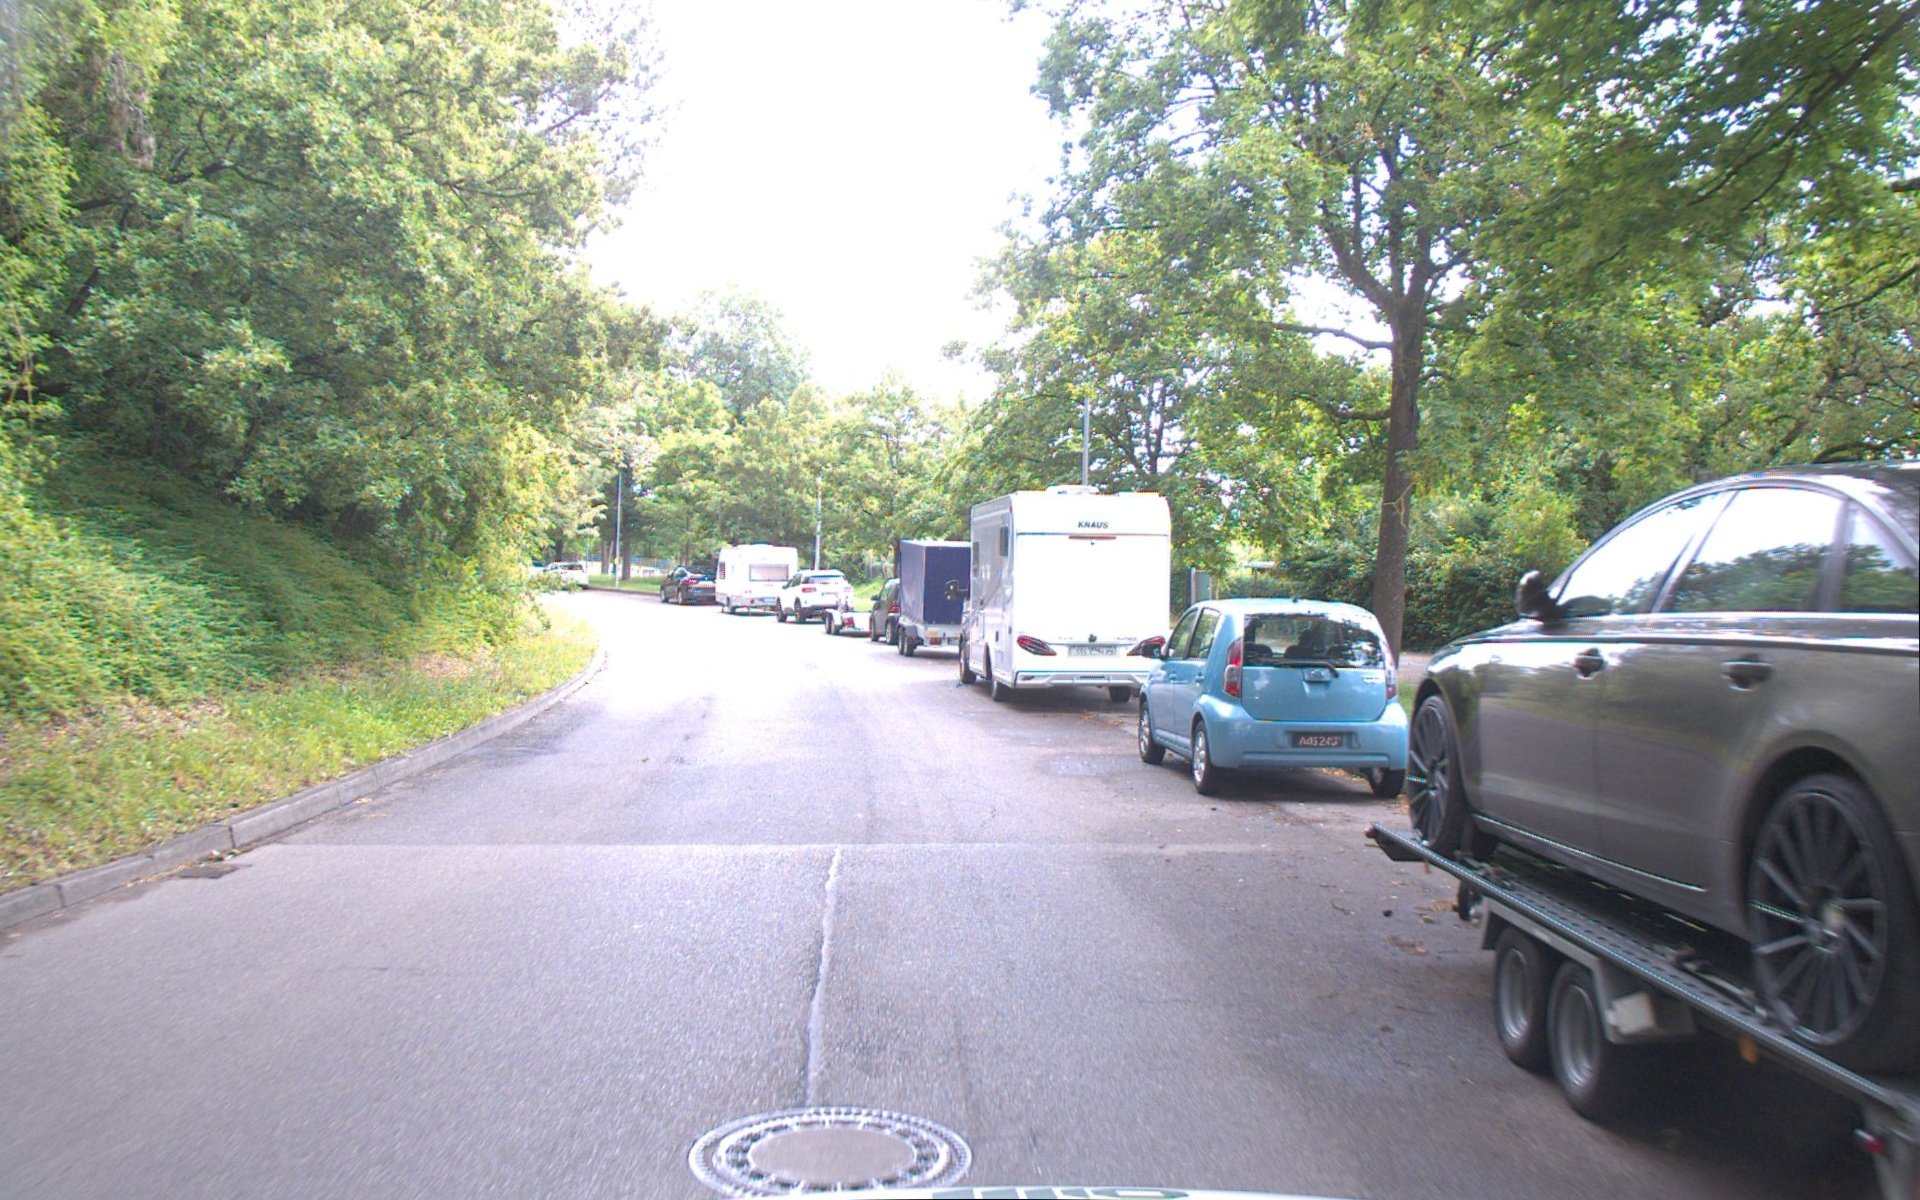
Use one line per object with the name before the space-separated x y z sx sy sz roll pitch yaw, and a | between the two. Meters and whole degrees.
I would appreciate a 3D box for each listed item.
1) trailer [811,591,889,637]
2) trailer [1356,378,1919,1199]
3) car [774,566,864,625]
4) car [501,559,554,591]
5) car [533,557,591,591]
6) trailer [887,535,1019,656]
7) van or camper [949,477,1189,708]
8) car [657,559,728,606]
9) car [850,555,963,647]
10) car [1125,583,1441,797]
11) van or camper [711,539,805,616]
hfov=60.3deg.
trailer | -3.015 0.348 44.714 1.622 1.105 3.989 -1 1 -11
trailer | 2.843 0.470 4.994 1.939 1.843 5.147 1 1 -1
car | -4.630 -0.175 53.877 2.004 1.835 4.061 1 1 -19
car | -24.954 -1.426 95.366 1.973 1.785 3.958 1 0 -31
car | -21.694 -1.401 90.049 1.973 1.785 3.958 1 0 -31
trailer | -0.216 -0.099 35.765 1.959 2.440 3.986 1 0 -14
van or camper | 1.401 -0.093 24.804 2.434 2.926 6.881 1 0 -6
car | -11.597 -0.792 71.448 1.970 1.902 3.966 -1 2 -26
car | -1.382 -0.034 40.889 1.960 2.061 3.986 -2 2 -14
car | 2.630 0.664 14.367 1.764 1.589 3.832 1 1 -4
van or camper | -7.616 -0.857 62.040 2.490 2.744 4.547 0 1 -21
